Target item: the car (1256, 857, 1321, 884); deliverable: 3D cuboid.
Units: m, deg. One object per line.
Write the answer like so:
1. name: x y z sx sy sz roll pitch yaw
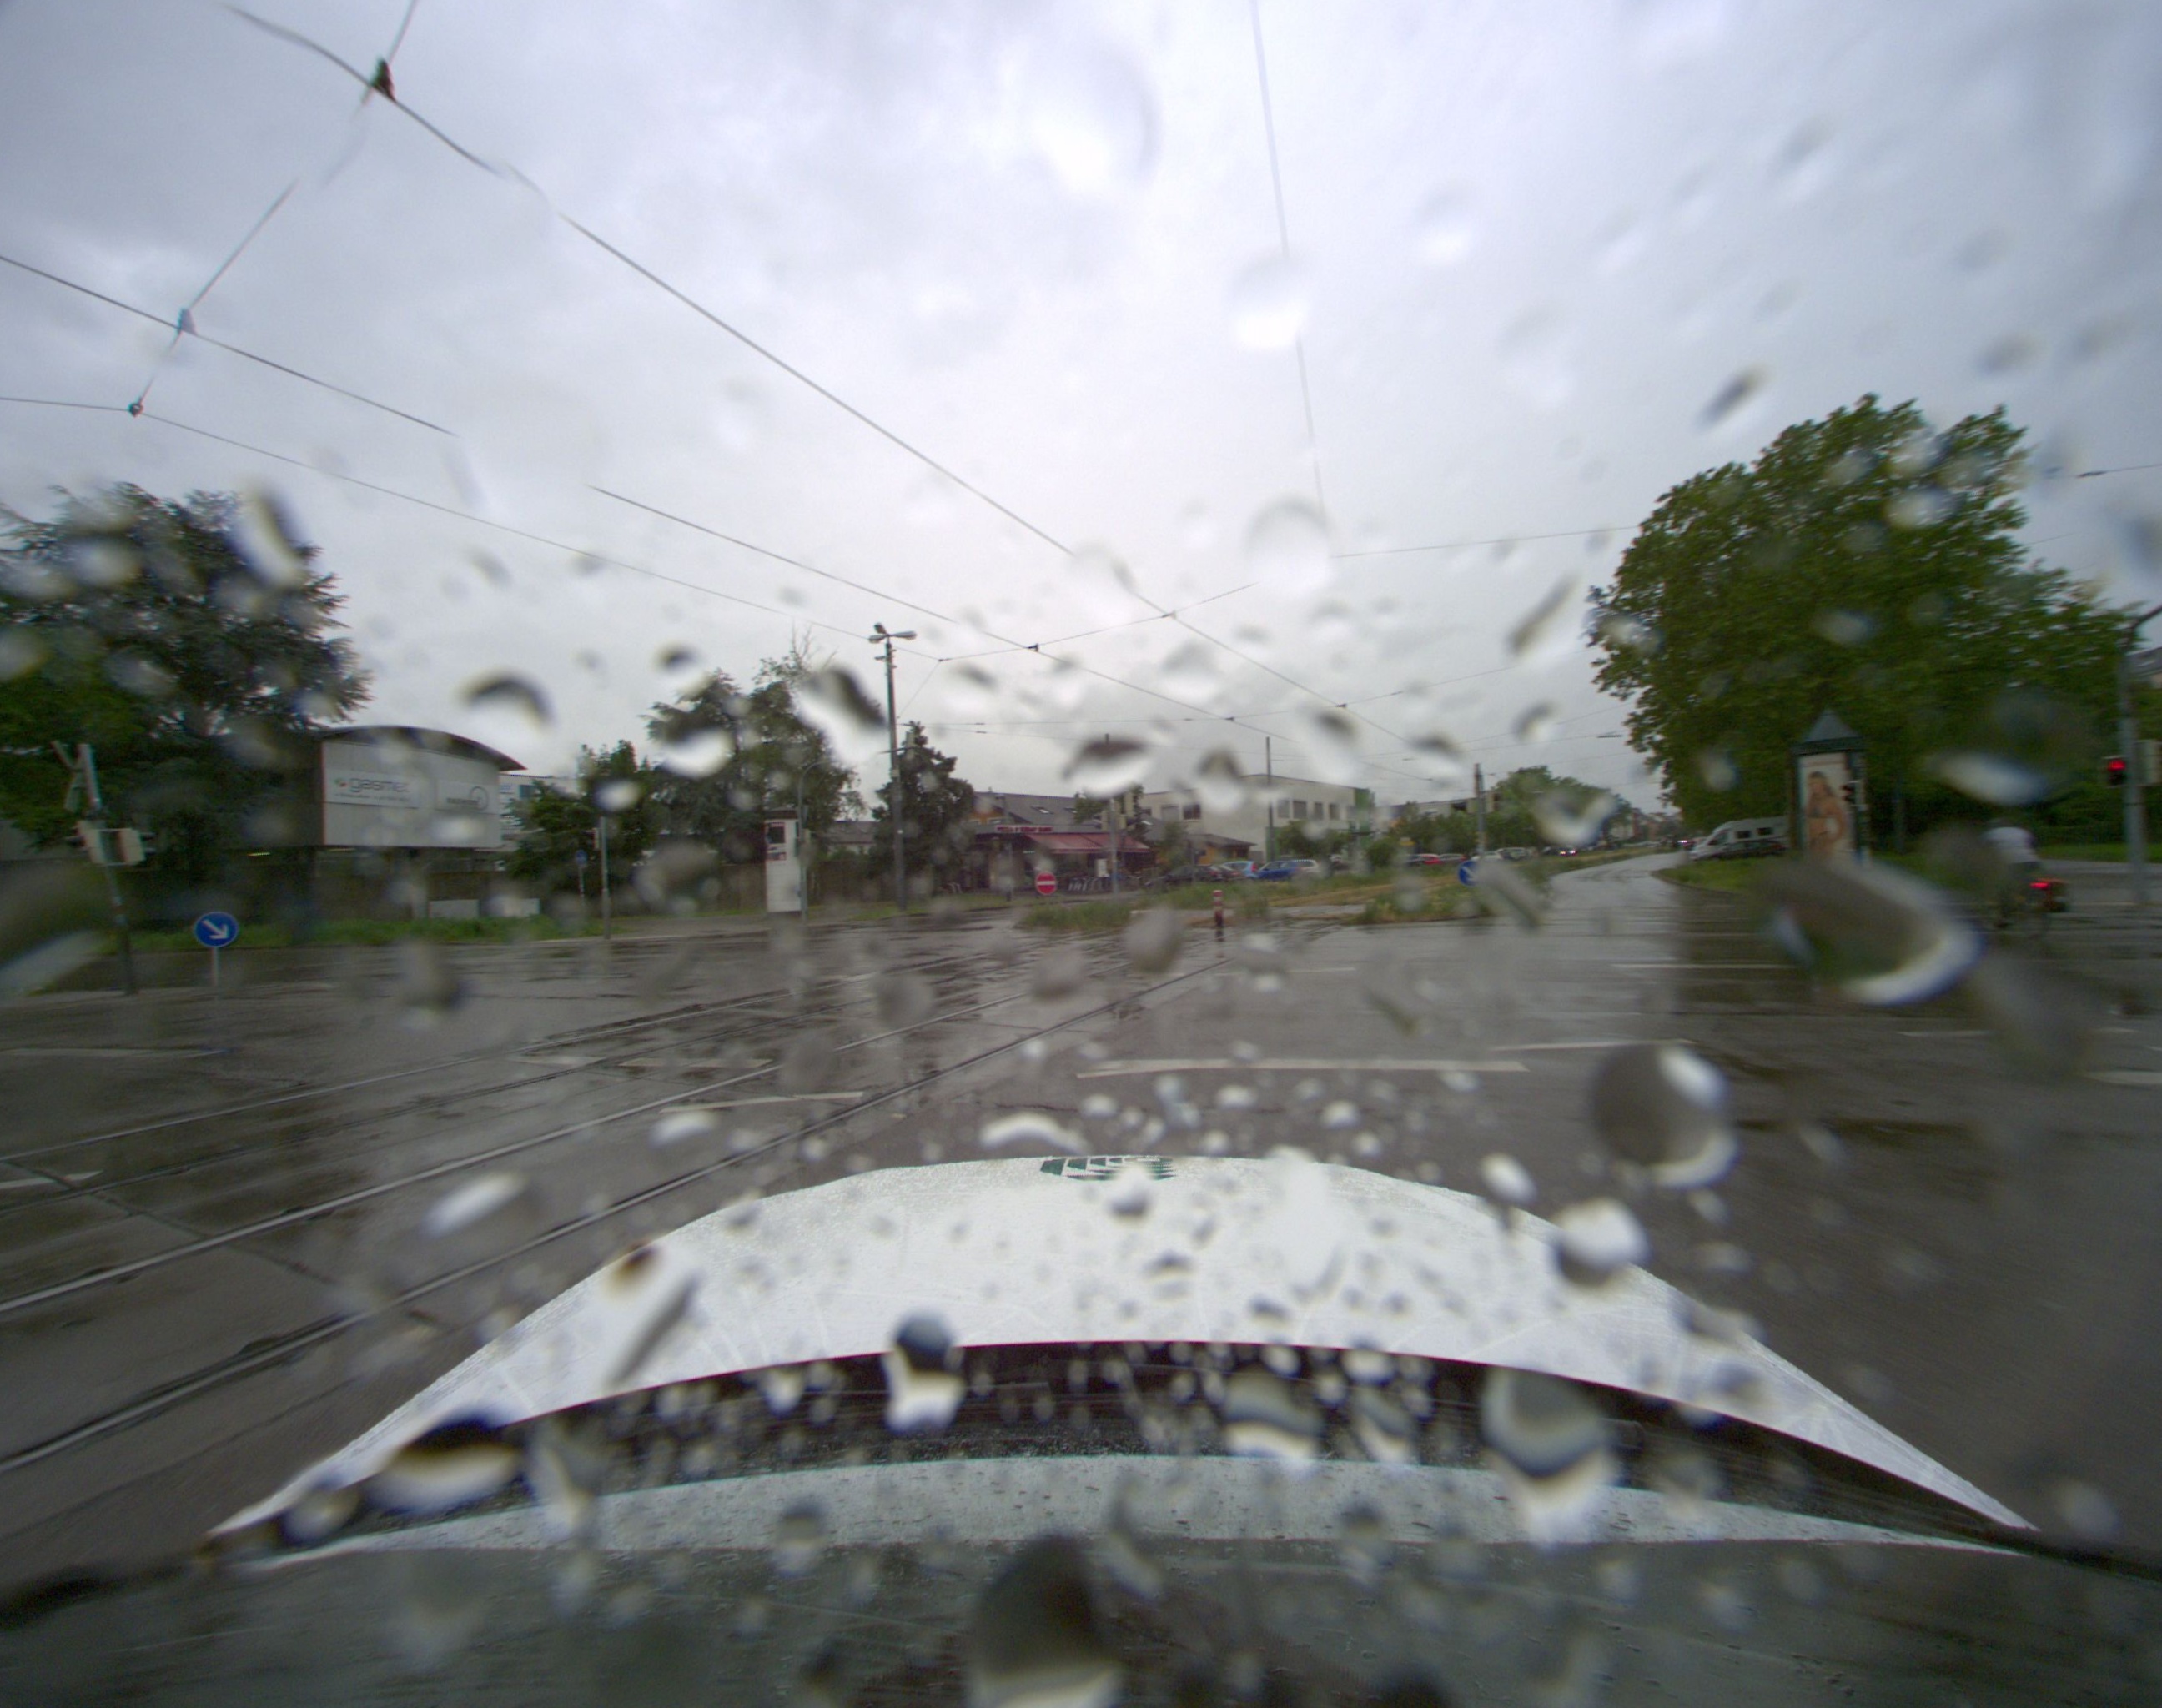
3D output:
1. car: 14.087 1.105 55.487 4.086 1.641 1.934 -3 -1 7

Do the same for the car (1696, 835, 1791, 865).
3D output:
1. car: 40.784 -0.245 50.215 4.402 1.717 2.012 -2 -1 42

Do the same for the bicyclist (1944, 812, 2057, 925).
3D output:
1. bicyclist: 12.790 0.208 11.361 0.685 1.506 0.848 -2 -1 21

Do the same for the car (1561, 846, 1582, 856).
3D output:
1. car: 78.535 -0.479 130.359 1.873 1.662 4.024 -2 -1 44

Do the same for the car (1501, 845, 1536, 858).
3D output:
1. car: 61.635 -0.305 114.739 3.962 1.759 2.016 -1 -1 10

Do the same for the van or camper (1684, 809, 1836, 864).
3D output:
1. van or camper: 43.573 -1.028 52.542 7.251 3.178 3.283 -2 -1 39

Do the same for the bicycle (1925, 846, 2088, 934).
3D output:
1. bicycle: 12.799 0.477 11.352 0.685 1.117 1.895 -2 -1 22

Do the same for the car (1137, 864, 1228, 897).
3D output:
1. car: 5.471 1.425 43.800 4.438 1.418 1.868 -5 -2 22

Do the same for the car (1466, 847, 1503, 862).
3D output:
1. car: 49.409 0.032 99.832 3.749 1.702 1.843 -1 -1 11

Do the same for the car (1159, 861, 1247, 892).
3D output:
1. car: 6.877 1.253 45.853 4.457 1.418 1.868 -4 -2 22

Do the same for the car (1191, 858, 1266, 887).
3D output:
1. car: 8.833 1.096 48.736 3.950 1.582 1.869 -3 -1 26

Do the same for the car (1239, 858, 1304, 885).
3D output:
1. car: 12.274 1.145 52.811 3.962 1.582 1.935 -3 -1 10

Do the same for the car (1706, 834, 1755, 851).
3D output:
1. car: 80.316 -1.416 100.835 4.590 2.014 2.056 -2 -1 36

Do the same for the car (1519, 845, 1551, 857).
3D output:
1. car: 70.499 -0.432 126.447 3.956 1.832 2.009 -1 -1 16

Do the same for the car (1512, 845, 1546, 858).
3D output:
1. car: 67.212 -0.397 122.250 3.962 1.832 2.006 -1 -1 10

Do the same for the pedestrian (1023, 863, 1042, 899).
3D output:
1. pedestrian: -2.522 1.405 42.469 0.719 1.797 0.891 -1 0 18
